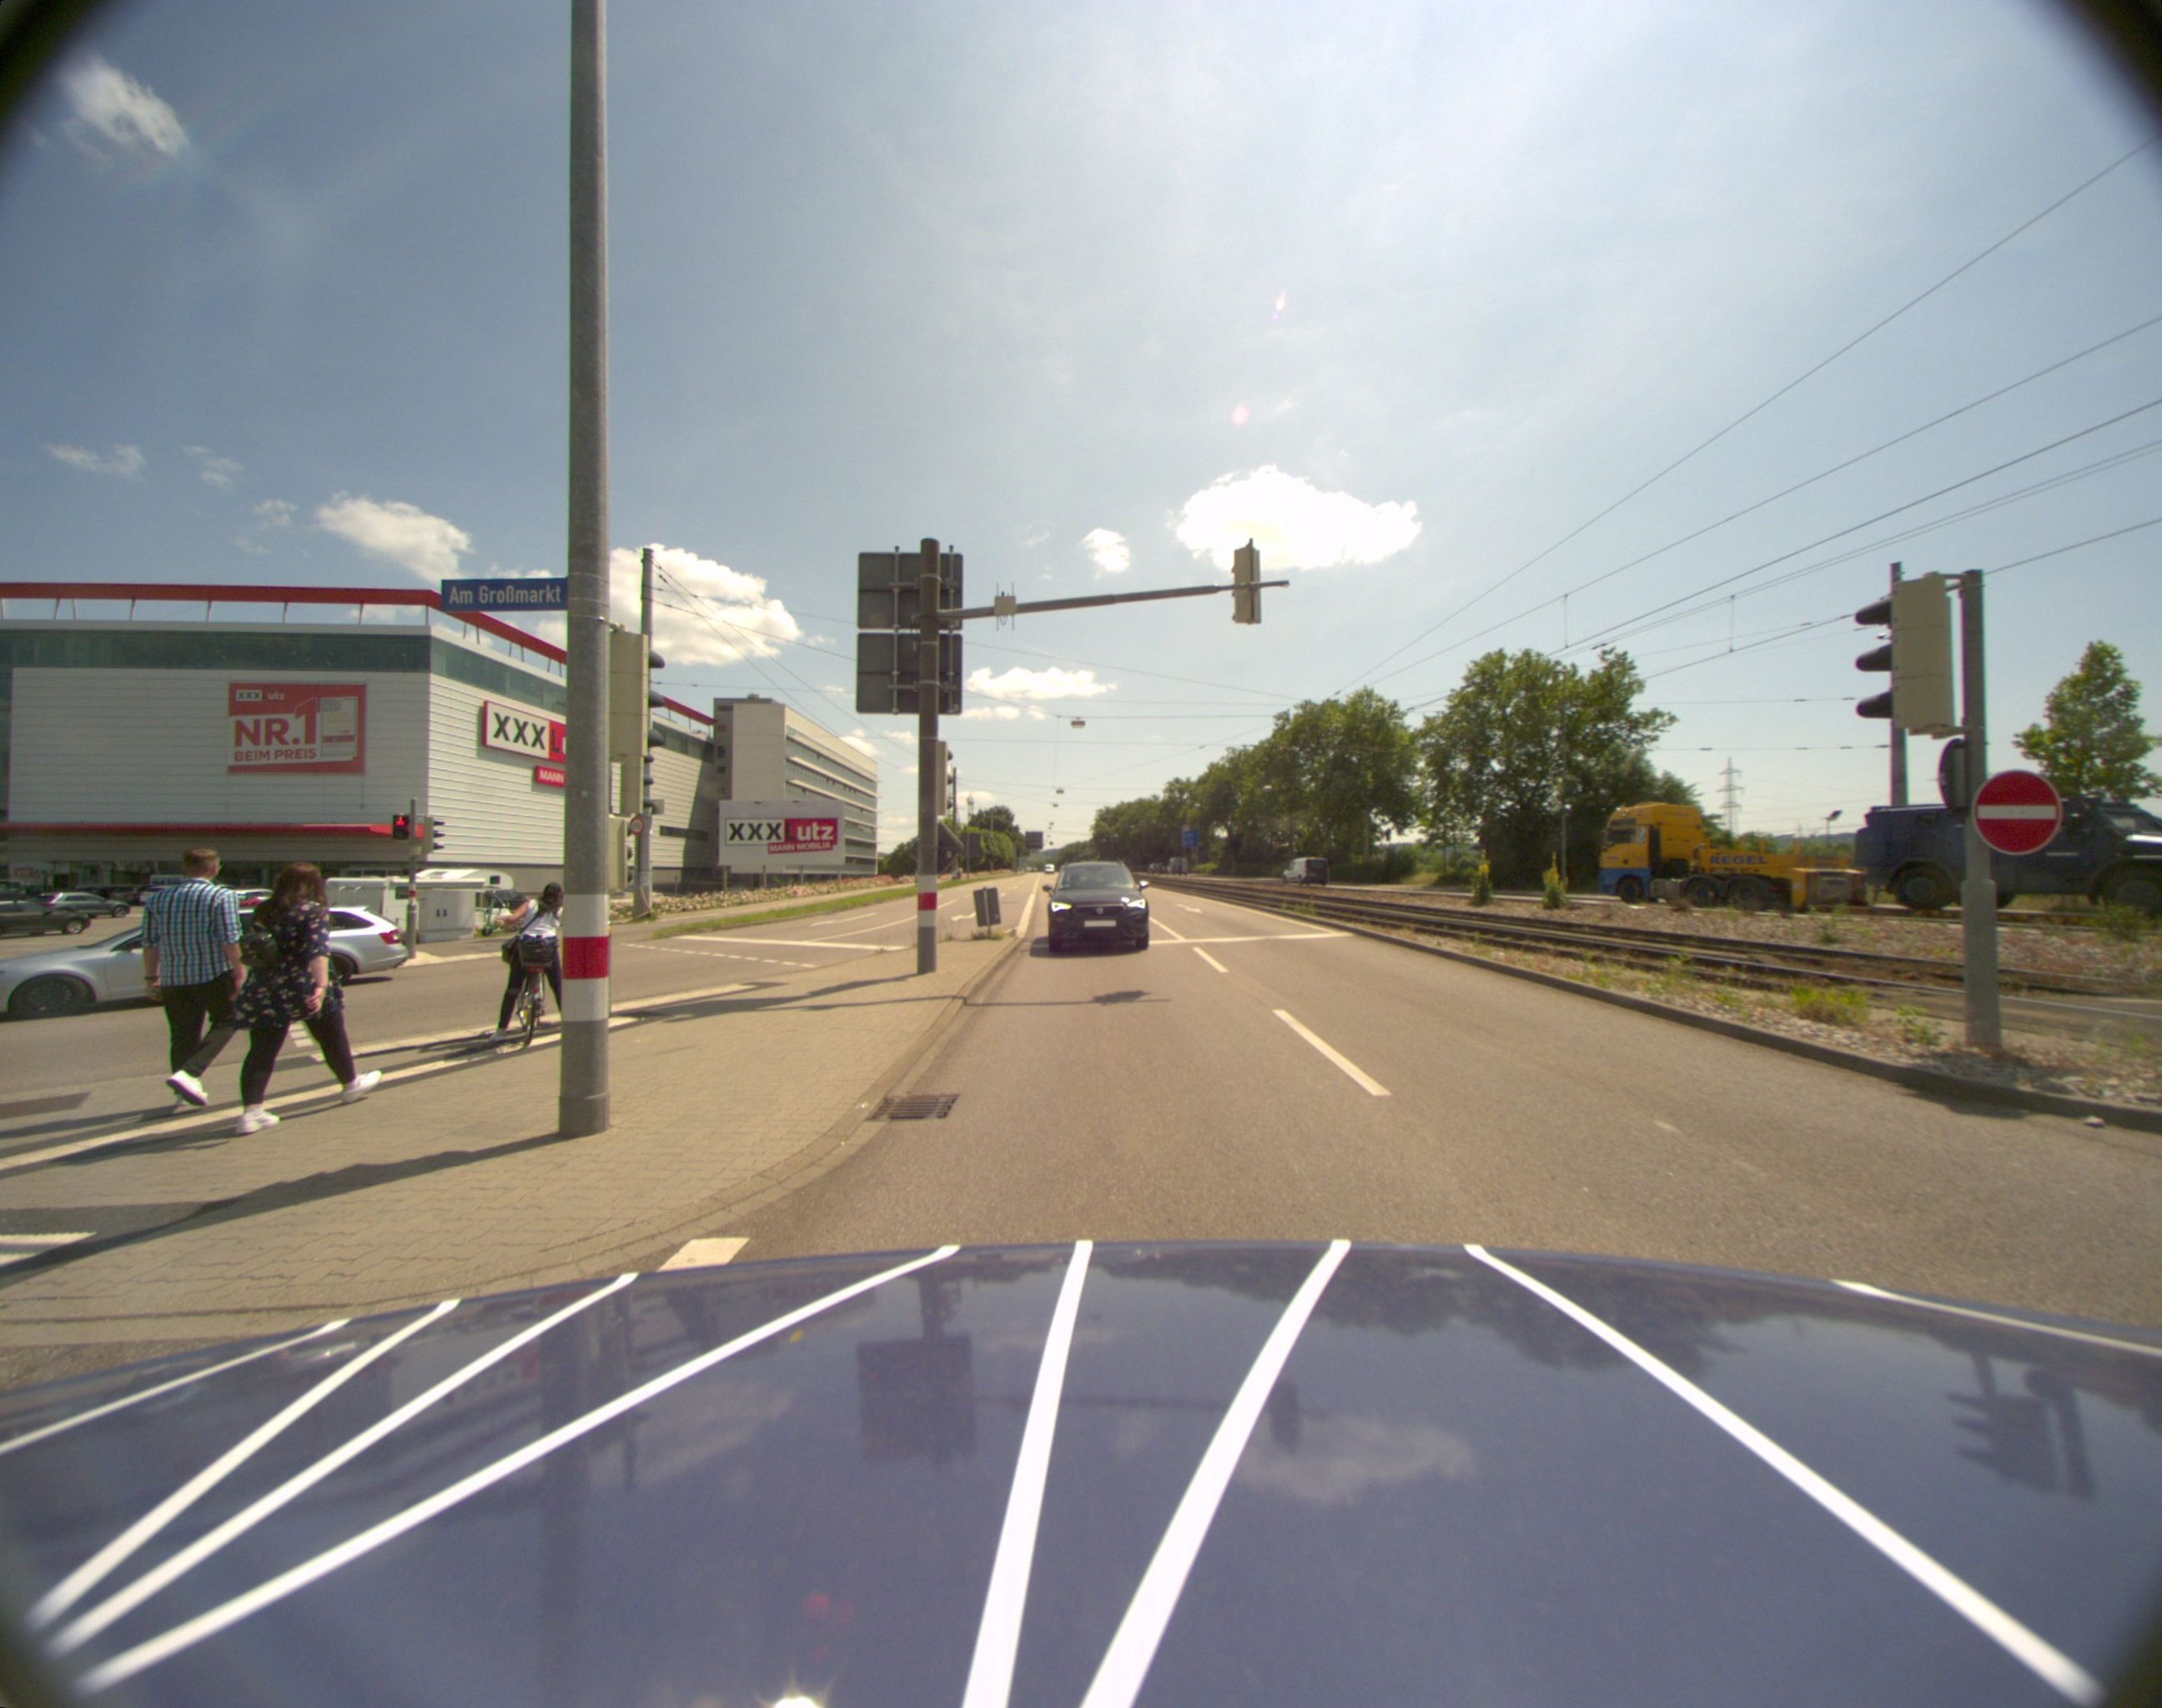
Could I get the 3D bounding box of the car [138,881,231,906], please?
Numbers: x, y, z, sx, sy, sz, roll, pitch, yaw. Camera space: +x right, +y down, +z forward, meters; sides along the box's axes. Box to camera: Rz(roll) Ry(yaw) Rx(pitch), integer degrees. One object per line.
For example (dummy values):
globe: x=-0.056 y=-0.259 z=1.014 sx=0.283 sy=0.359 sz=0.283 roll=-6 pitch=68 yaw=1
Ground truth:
car: x=-69.148 y=3.002 z=58.724 sx=1.999 sy=1.682 sz=4.519 roll=-1 pitch=-1 yaw=-3

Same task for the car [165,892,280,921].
car: x=-49.917 y=3.021 z=44.324 sx=1.859 sy=1.404 sz=4.255 roll=-2 pitch=0 yaw=-1

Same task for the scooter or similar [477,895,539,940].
scooter or similar: x=-16.466 y=1.810 z=21.871 sx=0.479 sy=1.120 sz=1.281 roll=-2 pitch=3 yaw=26

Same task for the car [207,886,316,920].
car: x=-52.271 y=3.076 z=48.614 sx=1.998 sy=1.883 sz=4.520 roll=-1 pitch=-1 yaw=0

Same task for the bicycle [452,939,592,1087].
bicycle: x=-5.638 y=1.498 z=7.615 sx=1.874 sy=1.155 sz=0.833 roll=-3 pitch=-2 yaw=44

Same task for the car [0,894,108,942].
car: x=-46.949 y=2.829 z=33.789 sx=1.590 sy=1.900 sz=4.489 roll=-1 pitch=-1 yaw=0

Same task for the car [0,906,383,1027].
car: x=-14.107 y=1.641 z=11.901 sx=1.798 sy=1.389 sz=4.470 roll=-2 pitch=-1 yaw=40

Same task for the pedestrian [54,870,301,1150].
pedestrian: x=-6.474 y=1.056 z=5.497 sx=0.805 sy=1.854 sz=0.798 roll=-1 pitch=0 yaw=1

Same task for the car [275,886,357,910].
car: x=-60.512 y=3.447 z=60.210 sx=1.999 sy=1.682 sz=4.519 roll=-1 pitch=-1 yaw=-3

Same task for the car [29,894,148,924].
car: x=-57.599 y=3.149 z=44.223 sx=1.649 sy=1.516 sz=4.000 roll=-1 pitch=-1 yaw=0

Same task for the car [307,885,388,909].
car: x=-57.332 y=3.340 z=59.522 sx=1.999 sy=1.682 sz=4.520 roll=-1 pitch=-1 yaw=-1

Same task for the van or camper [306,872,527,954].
van or camper: x=-27.931 y=2.317 z=32.557 sx=2.716 sy=2.928 sz=7.614 roll=-2 pitch=0 yaw=0

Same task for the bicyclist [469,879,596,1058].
bicyclist: x=-5.633 y=1.126 z=7.863 sx=0.817 sy=1.690 sz=0.798 roll=-2 pitch=0 yaw=-18

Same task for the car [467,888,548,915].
car: x=-38.042 y=3.107 z=50.576 sx=1.999 sy=1.545 sz=4.520 roll=-1 pitch=-1 yaw=-1

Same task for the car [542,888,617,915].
car: x=-32.940 y=3.101 z=50.098 sx=1.999 sy=1.554 sz=4.519 roll=-1 pitch=-1 yaw=-2

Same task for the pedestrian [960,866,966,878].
pedestrian: x=-15.270 y=2.325 z=98.313 sx=0.599 sy=1.645 sz=0.634 roll=-1 pitch=0 yaw=-3

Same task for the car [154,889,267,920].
car: x=-55.335 y=3.166 z=48.439 sx=1.999 sy=1.723 sz=4.520 roll=-1 pitch=-1 yaw=-1

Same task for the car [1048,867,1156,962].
car: x=0.371 y=1.057 z=14.868 sx=1.820 sy=1.582 sz=4.001 roll=-1 pitch=-1 yaw=0

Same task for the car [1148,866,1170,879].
car: x=10.778 y=2.554 z=105.407 sx=2.000 sy=1.626 sz=4.263 roll=2 pitch=-1 yaw=-7

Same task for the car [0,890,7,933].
car: x=-52.090 y=2.741 z=33.654 sx=1.999 sy=2.002 sz=4.965 roll=-2 pitch=0 yaw=-1

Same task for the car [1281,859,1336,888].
car: x=15.343 y=1.371 z=51.471 sx=2.000 sy=1.826 sz=4.433 roll=1 pitch=-3 yaw=-6

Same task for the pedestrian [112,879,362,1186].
pedestrian: x=-5.386 y=1.050 z=4.925 sx=0.807 sy=1.749 sz=0.796 roll=-1 pitch=0 yaw=-24

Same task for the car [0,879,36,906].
car: x=-69.259 y=2.467 z=47.361 sx=1.999 sy=1.723 sz=4.520 roll=-1 pitch=-1 yaw=-1

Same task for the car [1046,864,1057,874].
car: x=-5.357 y=2.682 z=137.814 sx=1.819 sy=1.829 sz=4.001 roll=-1 pitch=-1 yaw=2

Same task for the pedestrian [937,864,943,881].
pedestrian: x=-15.785 y=2.063 z=84.897 sx=0.518 sy=1.782 sz=0.634 roll=-1 pitch=0 yaw=-3

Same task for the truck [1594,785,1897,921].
truck: x=22.518 y=0.032 z=26.477 sx=3.137 sy=4.014 sz=7.467 roll=-1 pitch=-1 yaw=-13

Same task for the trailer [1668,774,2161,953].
trailer: x=24.053 y=0.243 z=19.696 sx=3.126 sy=3.847 sz=15.467 roll=-1 pitch=-1 yaw=-13

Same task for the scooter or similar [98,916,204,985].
scooter or similar: x=-19.217 y=1.975 z=15.734 sx=0.479 sy=1.283 sz=1.281 roll=-2 pitch=-1 yaw=16

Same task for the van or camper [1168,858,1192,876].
van or camper: x=14.088 y=1.861 z=108.561 sx=2.000 sy=2.571 sz=5.841 roll=1 pitch=-1 yaw=-7
